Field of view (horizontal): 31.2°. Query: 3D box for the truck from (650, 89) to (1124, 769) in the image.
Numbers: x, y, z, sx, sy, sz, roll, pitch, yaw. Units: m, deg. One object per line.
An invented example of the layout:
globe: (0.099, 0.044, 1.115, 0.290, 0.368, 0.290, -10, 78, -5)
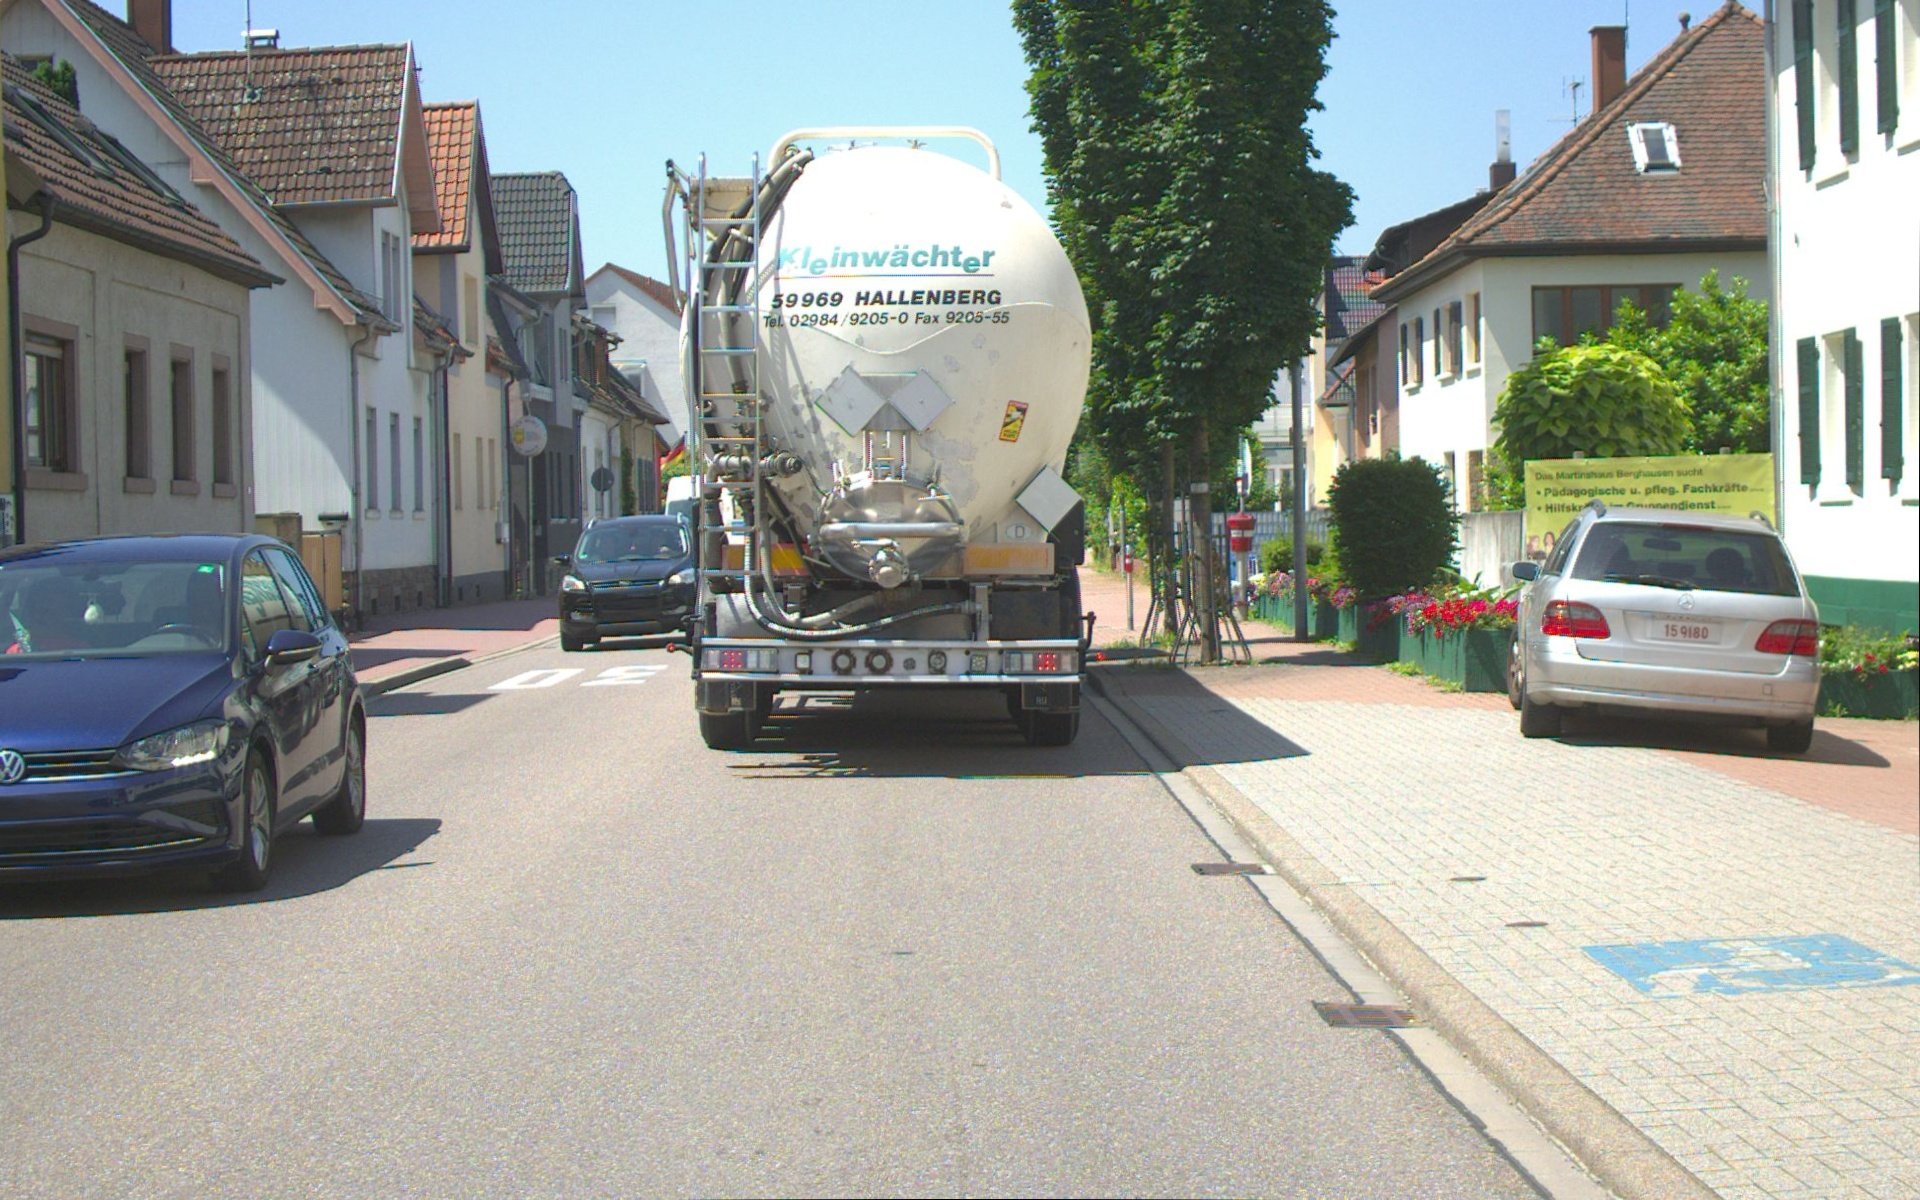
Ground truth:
truck: (-0.545, -1.055, 24.212, 2.732, 3.946, 8.142, 1, 1, -2)

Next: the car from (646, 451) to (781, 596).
car: (-4.431, -1.394, 62.662, 2.069, 2.446, 6.008, -2, 1, -1)

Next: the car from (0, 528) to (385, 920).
car: (-3.866, 0.472, 15.867, 1.765, 1.531, 4.079, -2, 1, -1)

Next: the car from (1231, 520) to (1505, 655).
car: (6.781, -0.228, 57.451, 4.170, 1.581, 1.907, 9, 1, 0)

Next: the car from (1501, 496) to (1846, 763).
car: (4.590, 0.097, 22.735, 1.815, 1.457, 4.883, 4, 2, 8)

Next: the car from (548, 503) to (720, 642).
car: (-4.178, -0.395, 44.666, 1.839, 1.664, 4.324, -2, 1, -1)
